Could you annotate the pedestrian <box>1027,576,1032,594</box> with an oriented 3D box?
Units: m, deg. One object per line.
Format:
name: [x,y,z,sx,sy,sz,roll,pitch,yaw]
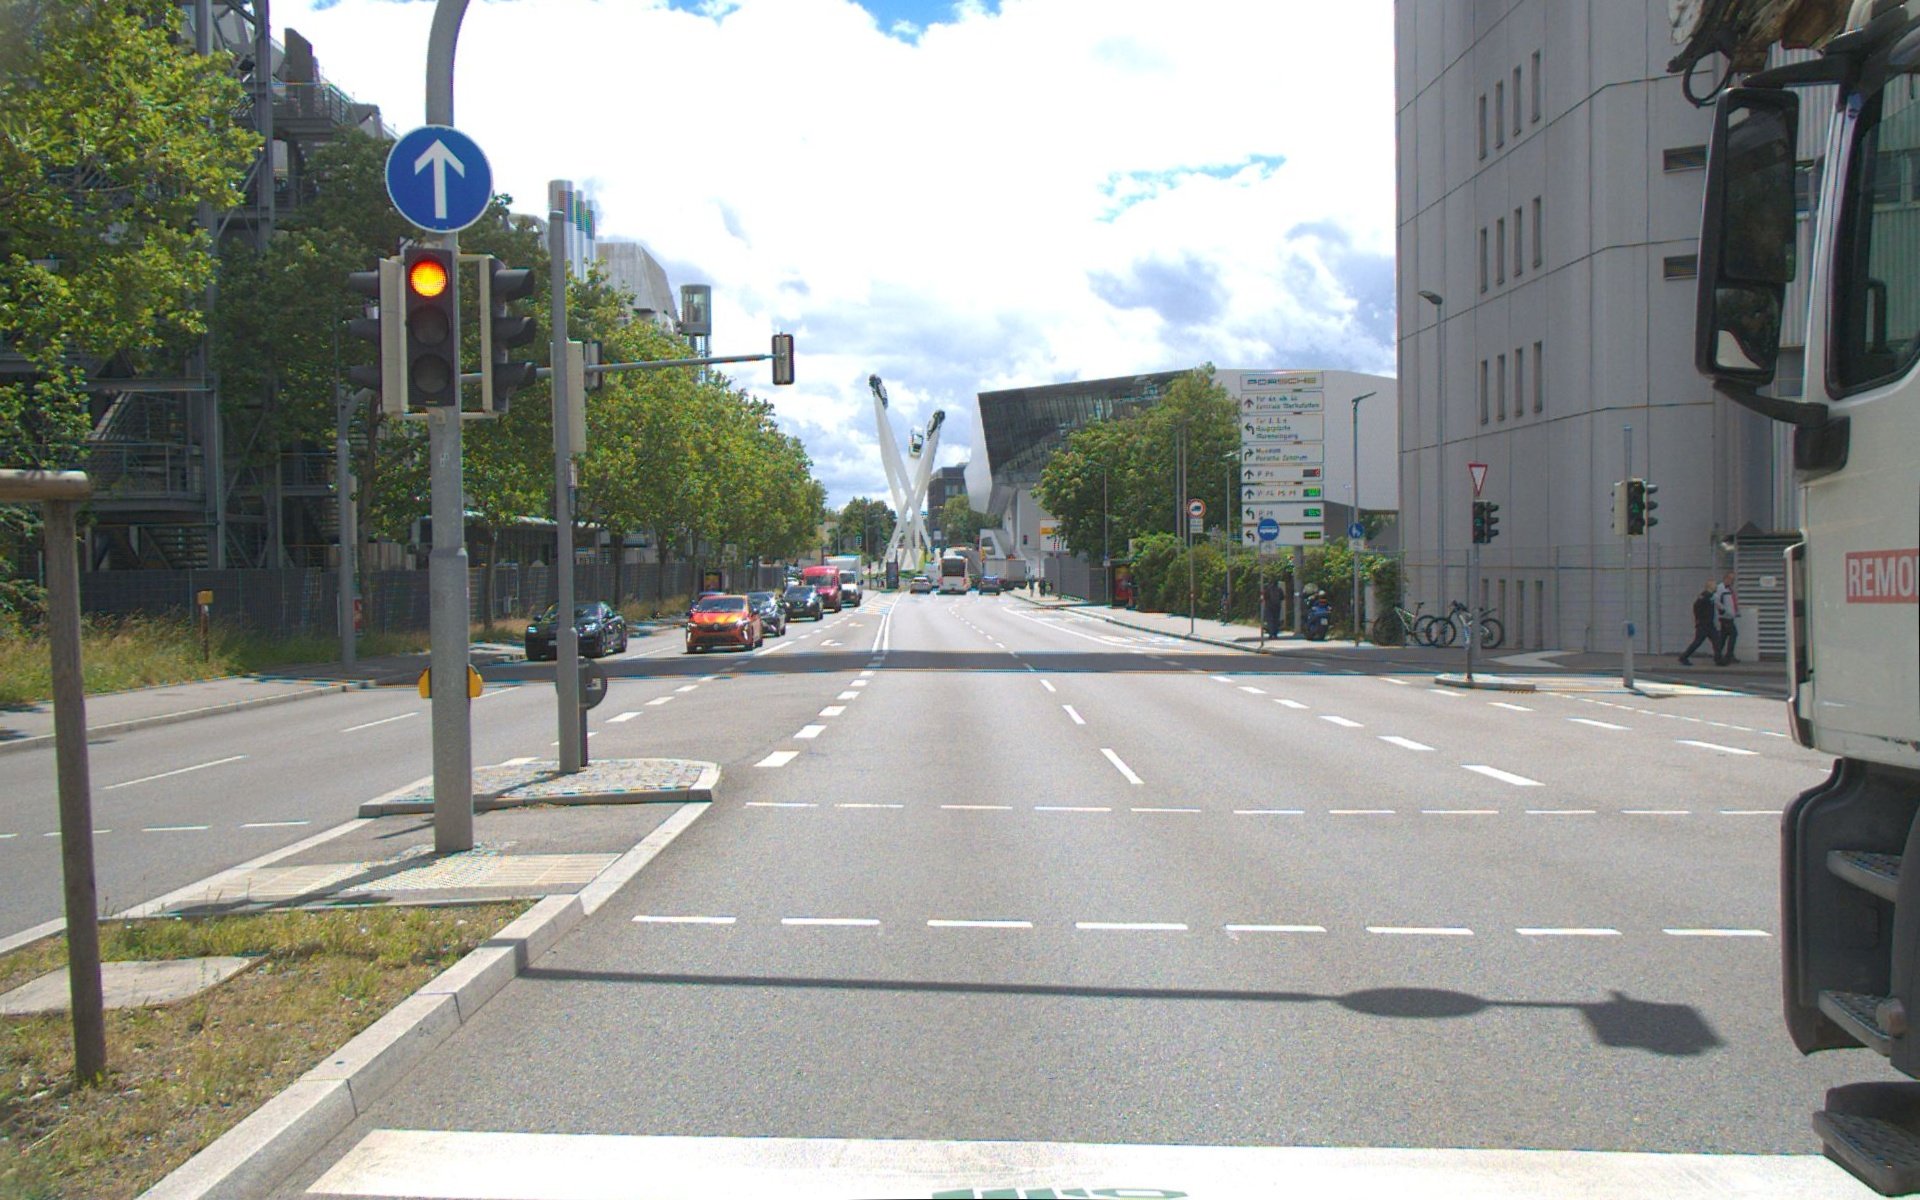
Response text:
pedestrian: [5.660,-1.211,135.225,0.378,1.446,0.423,1,-1,0]

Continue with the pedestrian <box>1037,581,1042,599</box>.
pedestrian: [6.324,-0.782,131.779,0.378,1.446,0.423,1,-1,0]

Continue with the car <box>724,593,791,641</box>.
car: [-6.696,0.529,54.968,1.733,1.445,3.701,-2,0,0]

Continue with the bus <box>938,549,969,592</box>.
bus: [-0.573,-2.614,150.096,2.730,3.750,6.942,1,0,0]

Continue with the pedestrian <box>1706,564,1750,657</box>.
pedestrian: [15.480,0.209,33.339,0.695,1.825,0.694,-2,1,22]

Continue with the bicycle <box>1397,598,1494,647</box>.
bicycle: [11.637,0.531,39.699,2.180,1.105,0.475,1,-1,35]

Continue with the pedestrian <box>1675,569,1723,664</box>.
pedestrian: [14.583,0.322,32.651,0.695,1.825,0.643,-3,1,15]

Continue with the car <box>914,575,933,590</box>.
car: [-3.230,-1.581,148.594,1.525,1.295,3.701,-2,0,1]

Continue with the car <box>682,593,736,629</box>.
car: [-10.733,0.461,70.974,1.692,1.406,3.701,-2,0,0]

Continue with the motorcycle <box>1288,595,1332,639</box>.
motorcycle: [9.548,0.455,45.153,0.410,1.186,1.951,1,0,-11]

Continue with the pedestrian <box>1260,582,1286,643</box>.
pedestrian: [8.788,0.348,46.432,0.523,1.669,0.657,1,-1,-6]

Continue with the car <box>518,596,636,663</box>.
car: [-9.817,0.713,42.777,1.878,1.514,4.772,-2,0,0]

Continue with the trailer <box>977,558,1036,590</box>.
trailer: [4.918,-2.691,172.196,3.250,3.047,10.380,1,0,18]

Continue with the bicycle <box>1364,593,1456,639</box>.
bicycle: [11.152,0.388,41.024,2.180,1.105,0.475,1,-1,35]

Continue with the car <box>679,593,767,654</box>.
car: [-6.196,0.597,43.606,1.733,1.445,3.701,-2,0,0]

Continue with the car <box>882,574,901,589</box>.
car: [-6.429,-1.746,155.683,1.525,1.295,3.701,-2,0,0]

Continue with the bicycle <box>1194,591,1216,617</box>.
bicycle: [9.672,0.160,65.400,0.410,1.040,1.910,1,0,-5]

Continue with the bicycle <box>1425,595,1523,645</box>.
bicycle: [12.046,0.461,38.806,2.149,1.105,0.475,1,-1,35]

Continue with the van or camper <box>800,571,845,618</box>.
van or camper: [-7.516,-0.319,90.808,2.005,2.509,5.594,0,0,0]

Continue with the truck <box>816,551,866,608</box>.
truck: [-7.434,-1.222,104.039,2.538,3.382,7.078,1,0,0]

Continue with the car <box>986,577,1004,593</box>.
car: [3.084,-1.330,146.185,1.525,1.295,3.701,-2,0,1]

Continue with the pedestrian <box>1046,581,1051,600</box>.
pedestrian: [7.079,-0.761,131.838,0.378,1.446,0.423,1,-1,0]

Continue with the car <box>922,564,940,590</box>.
car: [-2.948,-2.356,170.922,1.806,2.669,3.999,1,0,-1]

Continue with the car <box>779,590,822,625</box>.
car: [-7.202,0.302,75.063,1.525,1.473,3.772,-2,0,0]
